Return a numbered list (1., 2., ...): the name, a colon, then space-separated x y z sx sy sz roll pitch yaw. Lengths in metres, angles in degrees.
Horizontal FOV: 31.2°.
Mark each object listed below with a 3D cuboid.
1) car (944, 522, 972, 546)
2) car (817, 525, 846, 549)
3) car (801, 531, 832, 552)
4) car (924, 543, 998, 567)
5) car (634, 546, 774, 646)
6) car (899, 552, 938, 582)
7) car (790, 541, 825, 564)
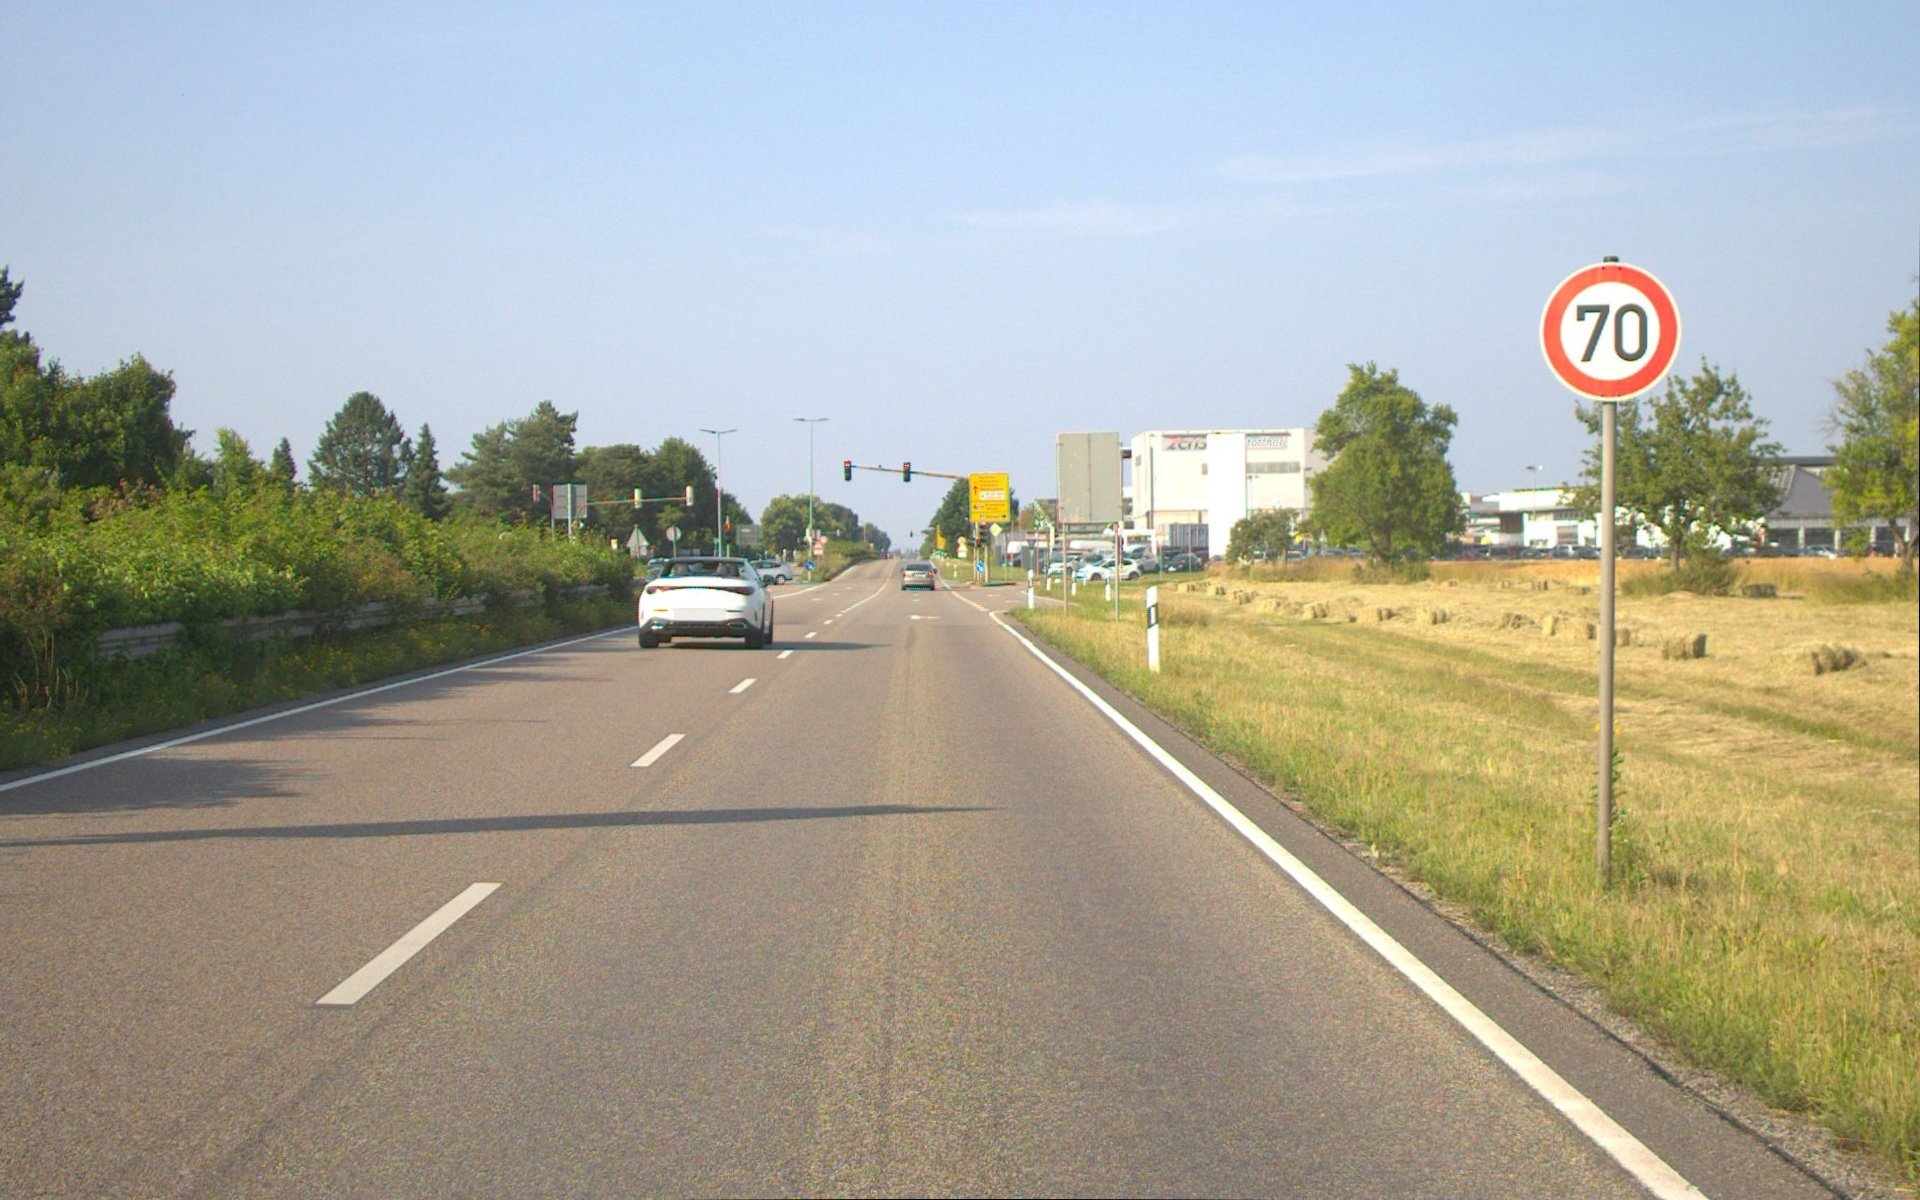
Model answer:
1. car: -0.126 -4.885 253.134 1.993 1.751 4.000 1 1 1
2. car: -9.469 -4.655 253.712 1.947 1.766 4.000 1 1 0
3. car: -9.979 -4.067 239.677 1.947 1.403 4.000 1 1 0
4. car: 0.060 -2.668 203.803 3.986 1.403 1.955 0 1 -20
5. car: -3.838 -0.086 52.134 1.909 1.417 4.000 1 1 -1
6. car: -2.159 -1.730 177.741 1.993 1.481 4.000 1 1 -1
7. car: -9.529 -2.995 214.905 1.947 1.403 4.000 1 1 0
